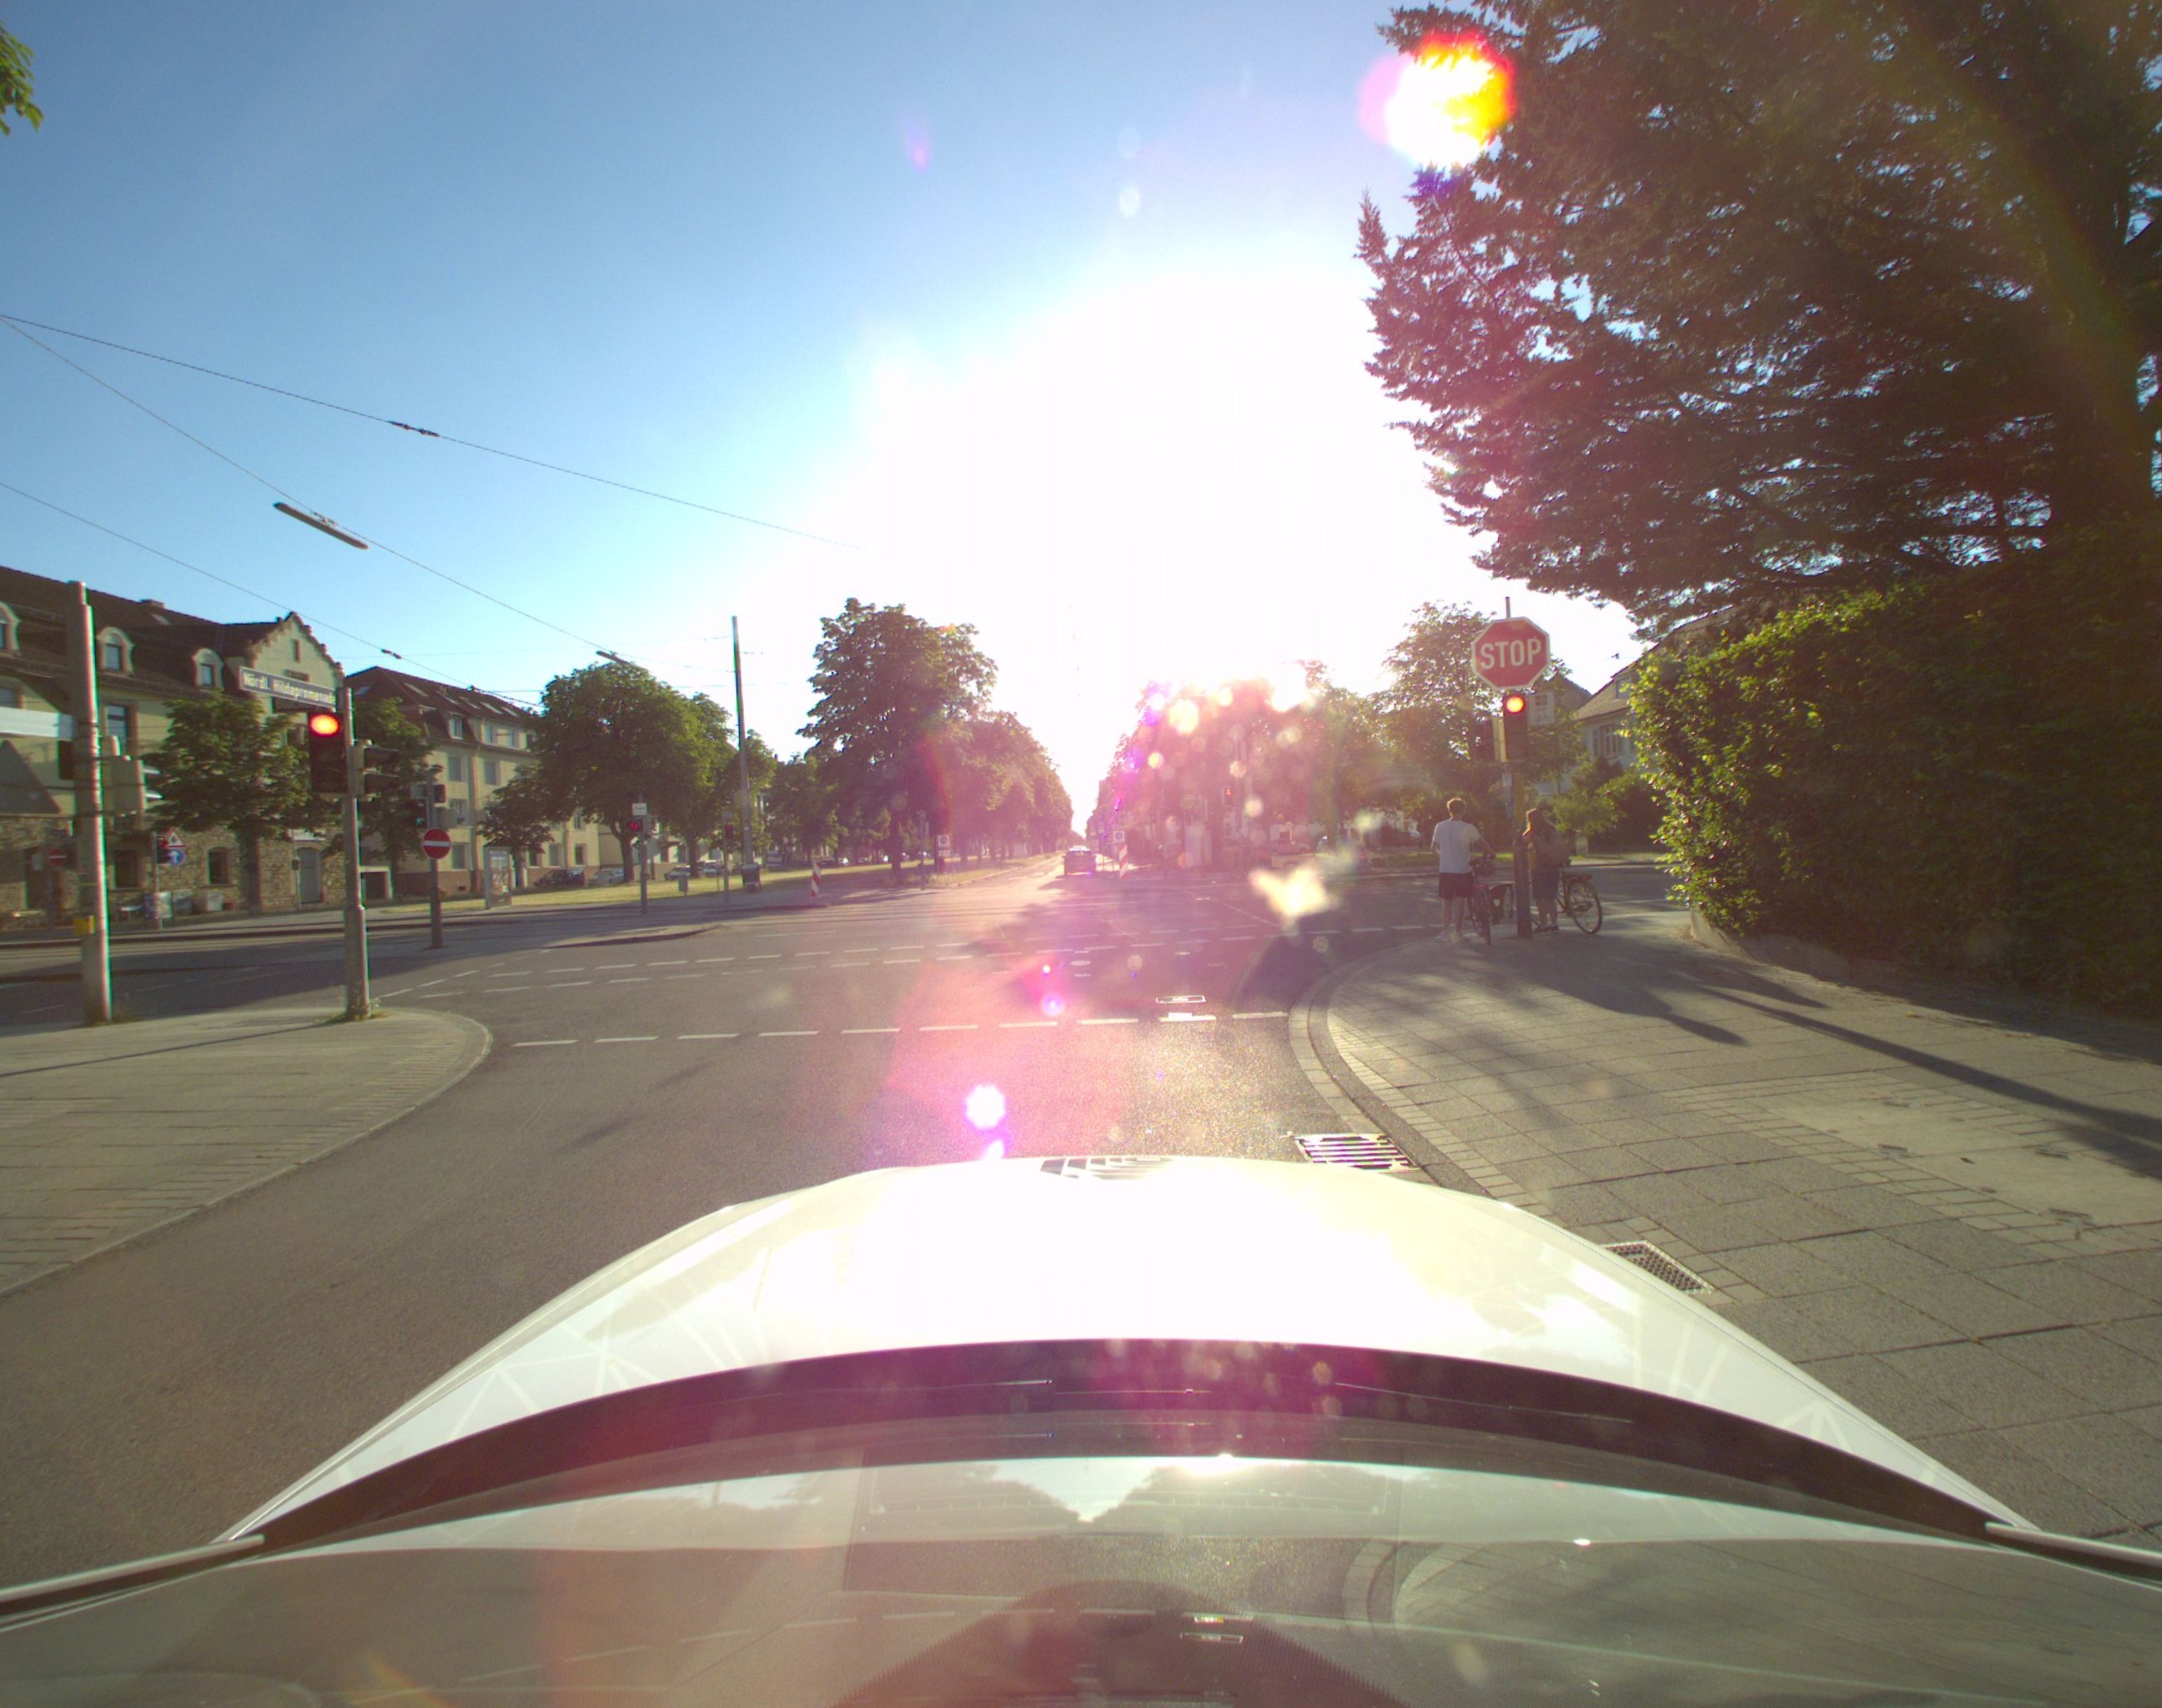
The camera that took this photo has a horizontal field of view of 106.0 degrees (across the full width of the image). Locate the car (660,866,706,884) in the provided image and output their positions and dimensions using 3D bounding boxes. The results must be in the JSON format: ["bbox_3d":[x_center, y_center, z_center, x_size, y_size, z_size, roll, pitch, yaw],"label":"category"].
[{"bbox_3d":[-37.409,1.946,76.711,1.986,1.659,4.572,0,0,2],"label":"car"}]

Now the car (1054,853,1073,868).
[{"bbox_3d":[-1.704,0.609,78.473,1.704,1.359,4.202,0,0,0],"label":"car"}]

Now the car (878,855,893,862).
[{"bbox_3d":[-41.725,0.972,173.966,1.986,1.659,4.357,0,0,2],"label":"car"}]

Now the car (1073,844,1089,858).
[{"bbox_3d":[-0.005,-0.432,103.944,1.987,1.781,3.999,0,1,-1],"label":"car"}]

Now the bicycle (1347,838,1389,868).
[{"bbox_3d":[11.498,-0.045,32.675,1.513,1.089,0.469,-2,3,9],"label":"bicycle"}]

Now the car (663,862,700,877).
[{"bbox_3d":[-42.827,1.647,87.397,1.709,1.633,4.192,0,-1,2],"label":"car"}]

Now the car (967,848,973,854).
[{"bbox_3d":[-34.744,-0.997,255.199,1.649,1.938,3.566,0,-2,-1],"label":"car"}]

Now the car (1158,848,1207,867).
[{"bbox_3d":[8.801,0.325,70.567,3.975,1.446,1.715,-2,-1,-1],"label":"car"}]

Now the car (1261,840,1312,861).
[{"bbox_3d":[16.371,-0.308,65.018,3.548,1.516,1.602,-2,0,-6],"label":"car"}]

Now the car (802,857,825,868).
[{"bbox_3d":[-41.979,1.317,127.901,1.986,1.659,4.376,0,0,2],"label":"car"}]

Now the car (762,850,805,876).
[{"bbox_3d":[-37.163,1.104,102.094,2.384,3.131,7.853,0,0,0],"label":"car"}]

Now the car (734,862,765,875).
[{"bbox_3d":[-42.208,1.818,103.881,1.986,1.659,4.572,0,0,2],"label":"car"}]

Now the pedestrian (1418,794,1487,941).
[{"bbox_3d":[4.987,0.169,10.970,0.622,1.866,0.778,-6,-1,20],"label":"pedestrian"}]

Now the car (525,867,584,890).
[{"bbox_3d":[-43.313,1.982,67.082,1.986,1.736,4.313,0,-1,2],"label":"car"}]

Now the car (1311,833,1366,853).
[{"bbox_3d":[20.733,-0.878,65.667,3.915,1.524,1.521,-1,-1,-5],"label":"car"}]

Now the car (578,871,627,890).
[{"bbox_3d":[-43.076,2.366,73.435,1.986,1.659,4.001,0,-1,2],"label":"car"}]

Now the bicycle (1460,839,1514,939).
[{"bbox_3d":[5.314,0.398,10.660,0.567,1.184,1.917,0,1,27],"label":"bicycle"}]

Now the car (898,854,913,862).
[{"bbox_3d":[-36.311,0.878,168.669,2.016,1.659,3.984,0,-1,1],"label":"car"}]

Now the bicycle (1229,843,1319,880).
[{"bbox_3d":[6.918,0.260,29.332,3.056,1.161,0.877,-3,-1,8],"label":"bicycle"}]

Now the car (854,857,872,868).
[{"bbox_3d":[-36.910,1.390,137.917,1.805,1.781,4.123,0,-1,1],"label":"car"}]

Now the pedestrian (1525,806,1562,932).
[{"bbox_3d":[5.977,0.188,10.539,0.346,1.585,0.465,-1,-1,23],"label":"pedestrian"}]

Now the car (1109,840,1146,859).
[{"bbox_3d":[5.345,-0.474,93.684,3.980,1.822,1.757,-3,-5,-5],"label":"car"}]

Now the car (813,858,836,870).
[{"bbox_3d":[-37.105,1.421,117.728,1.873,1.674,4.315,0,0,1],"label":"car"}]

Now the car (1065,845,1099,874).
[{"bbox_3d":[0.100,0.320,44.751,1.719,1.511,4.542,0,0,2],"label":"car"}]

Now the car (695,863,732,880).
[{"bbox_3d":[-37.221,1.731,82.584,1.791,1.554,4.417,0,1,-2],"label":"car"}]

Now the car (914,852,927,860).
[{"bbox_3d":[-36.991,0.371,188.089,1.987,1.658,4.570,-2,0,0],"label":"car"}]

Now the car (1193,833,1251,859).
[{"bbox_3d":[11.309,-0.630,65.395,4.228,1.875,2.030,-2,-1,-1],"label":"car"}]

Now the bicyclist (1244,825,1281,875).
[{"bbox_3d":[6.543,-0.143,29.391,1.138,1.723,0.877,-3,-1,8],"label":"bicyclist"}]
